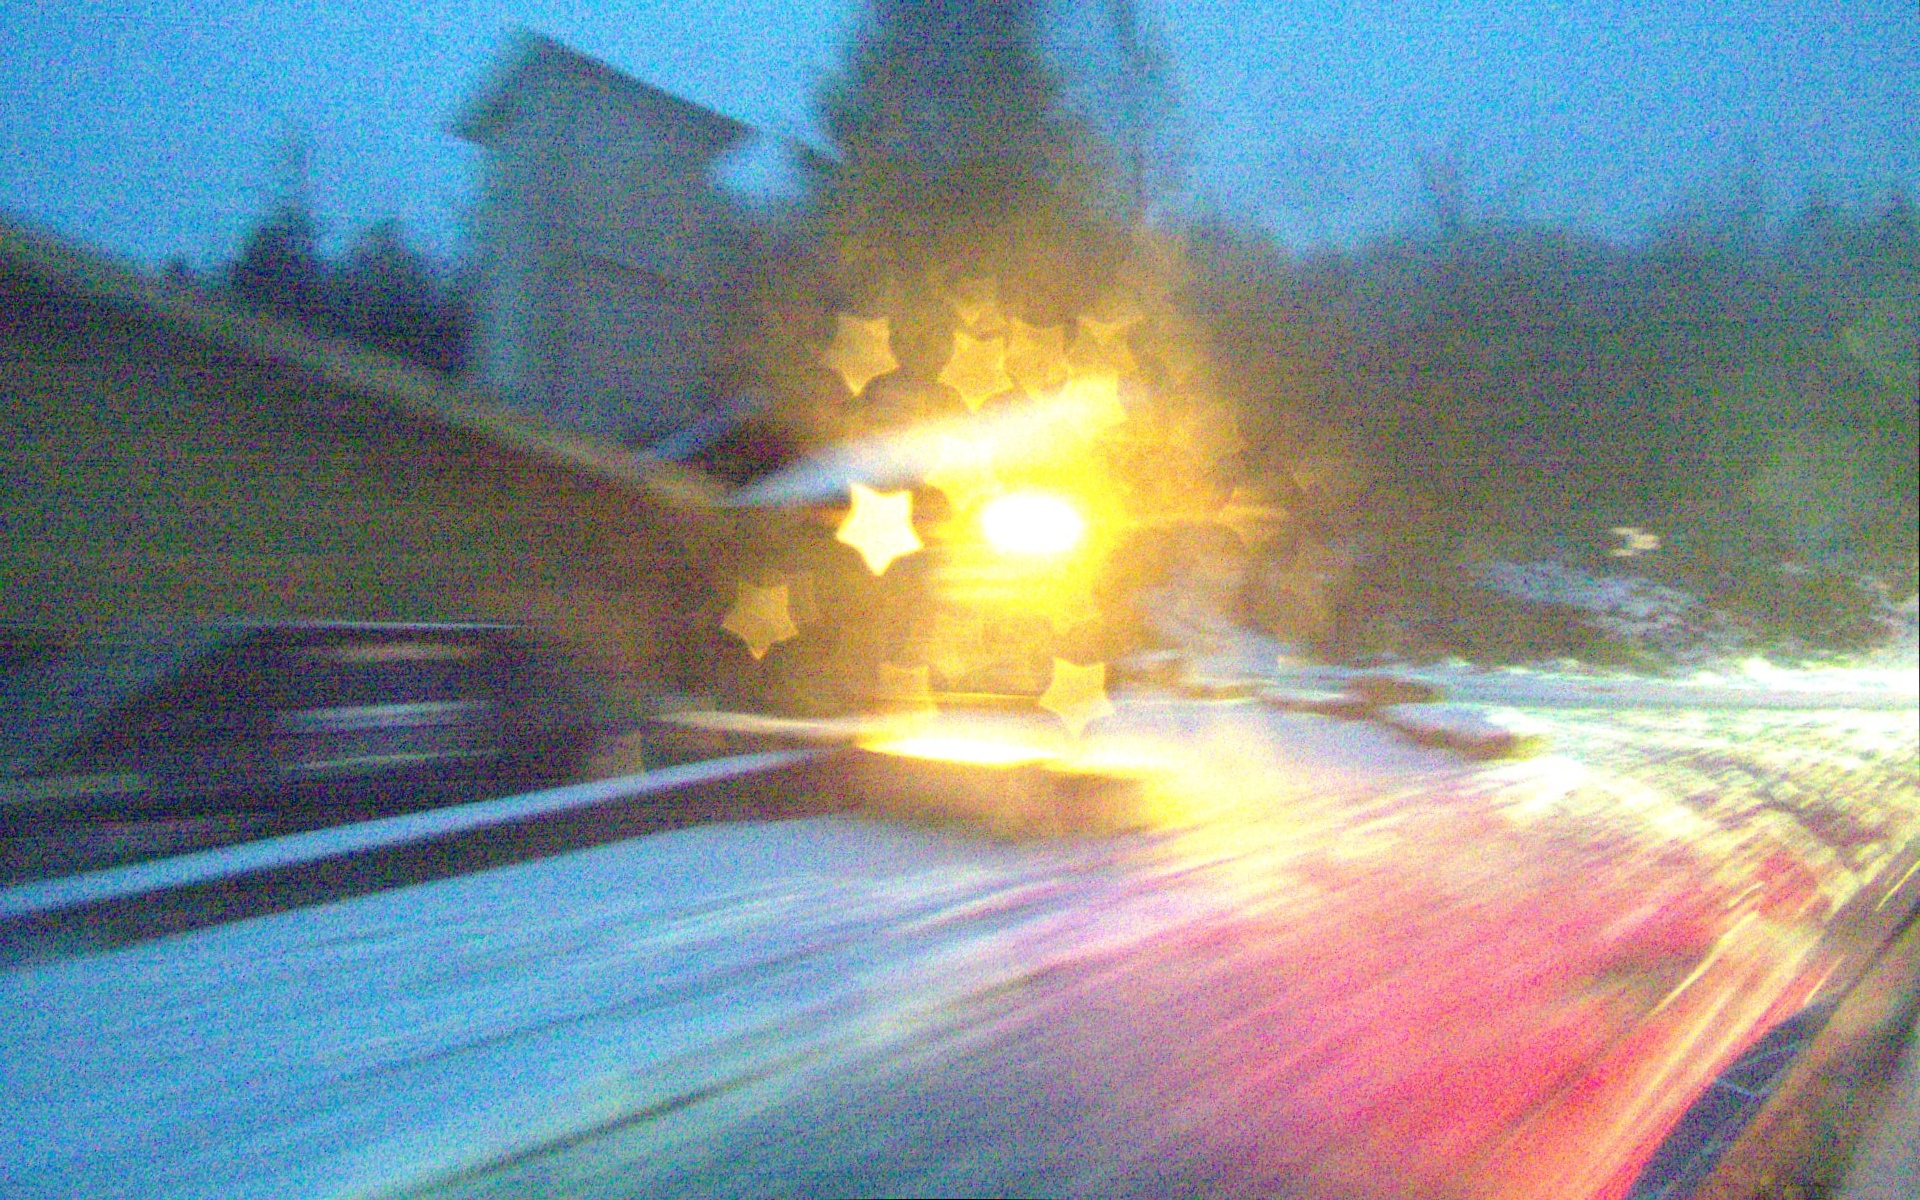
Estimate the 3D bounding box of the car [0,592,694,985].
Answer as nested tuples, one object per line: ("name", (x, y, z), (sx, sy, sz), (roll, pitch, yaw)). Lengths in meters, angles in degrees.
("car", (-4.044, 0.908, 6.617), (1.877, 1.833, 4.091), (-3, -2, 43))
